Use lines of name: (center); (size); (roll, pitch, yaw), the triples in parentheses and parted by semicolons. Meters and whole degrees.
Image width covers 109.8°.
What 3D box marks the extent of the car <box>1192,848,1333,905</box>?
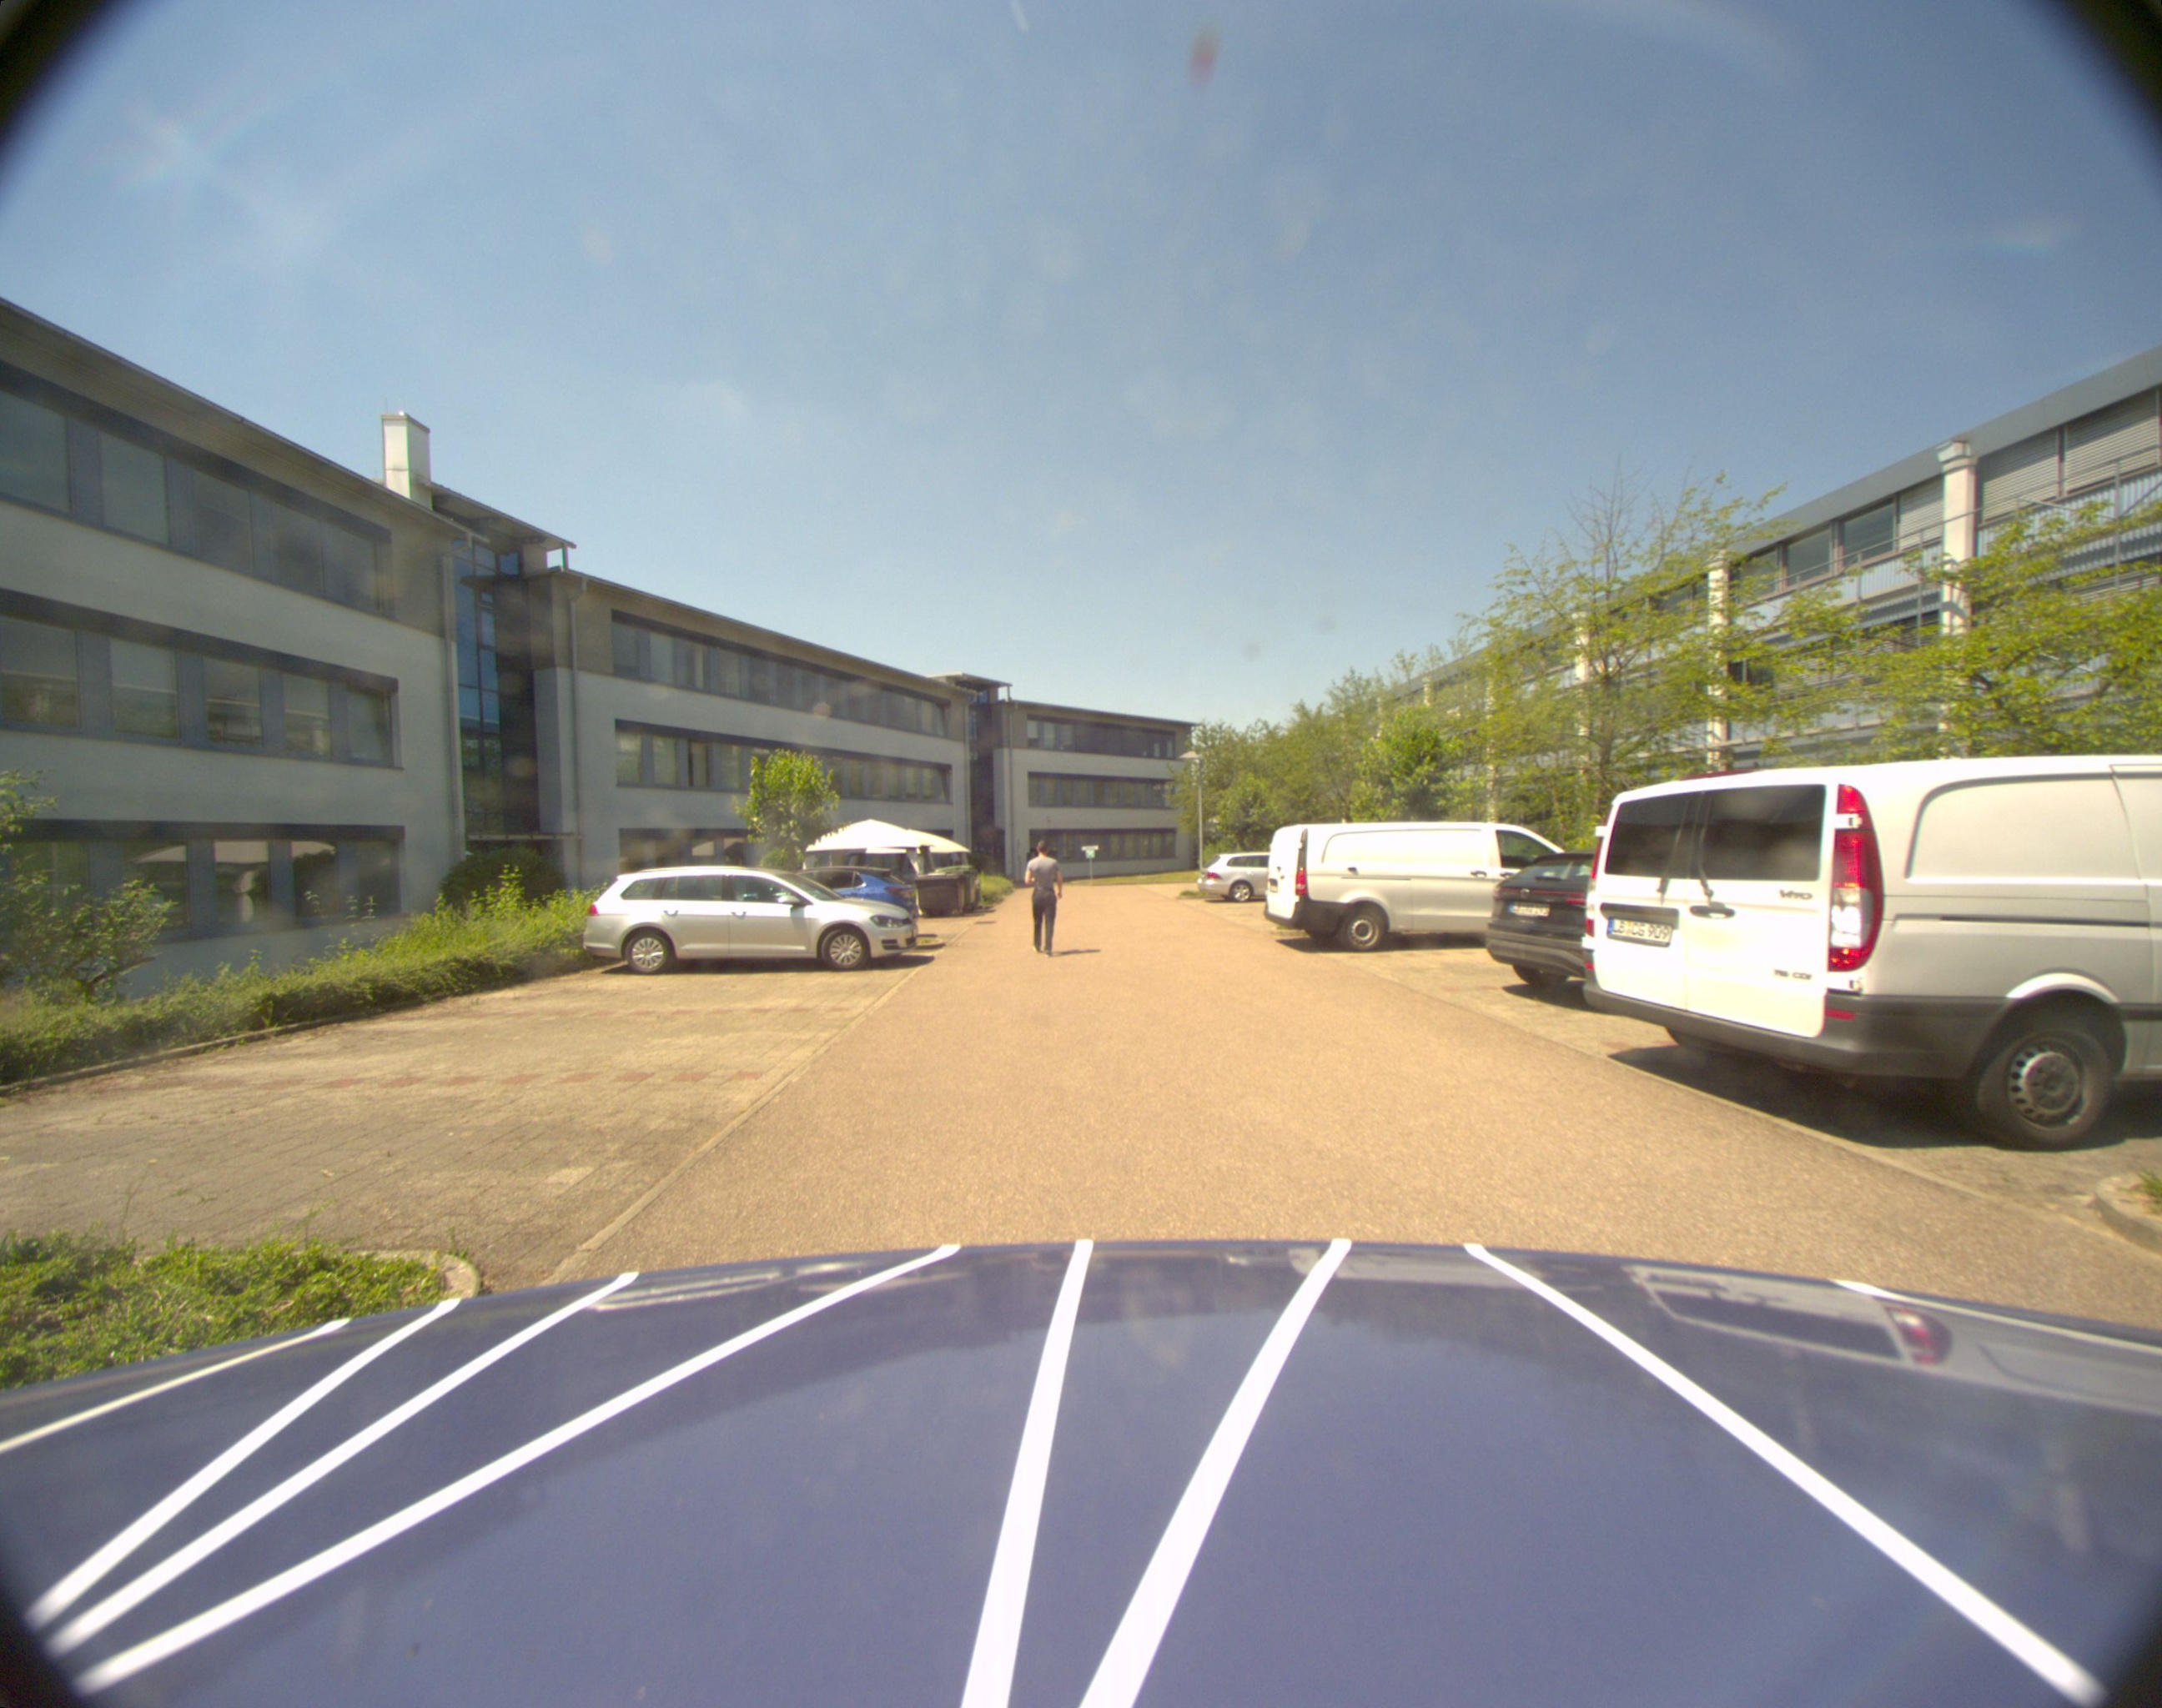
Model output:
car: (5.375, 0.633, 22.761); (3.764, 1.549, 1.660); (-1, 1, -4)

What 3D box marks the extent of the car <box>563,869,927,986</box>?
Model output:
car: (-4.698, 1.004, 11.202); (4.518, 1.488, 1.828); (0, 1, -4)

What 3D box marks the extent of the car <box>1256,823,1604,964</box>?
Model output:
car: (5.198, 0.545, 11.700); (4.518, 1.871, 1.828); (-1, 1, -4)

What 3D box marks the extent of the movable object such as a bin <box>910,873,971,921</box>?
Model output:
movable object such as a bin: (-3.712, 1.119, 20.193); (1.363, 1.182, 0.997); (-1, 1, 3)

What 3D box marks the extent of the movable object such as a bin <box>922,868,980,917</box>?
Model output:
movable object such as a bin: (-3.622, 1.063, 21.268); (1.363, 1.288, 1.043); (-1, 1, 3)

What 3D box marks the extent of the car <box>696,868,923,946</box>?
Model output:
car: (-5.124, 0.984, 14.734); (3.825, 1.383, 1.651); (0, 1, -4)

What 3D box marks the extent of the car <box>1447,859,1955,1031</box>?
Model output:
car: (5.916, 0.799, 7.517); (3.850, 1.385, 1.576); (-1, 1, -4)

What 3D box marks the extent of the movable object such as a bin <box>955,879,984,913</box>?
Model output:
movable object such as a bin: (-3.256, 1.221, 22.225); (0.690, 0.944, 0.722); (-1, 1, 3)

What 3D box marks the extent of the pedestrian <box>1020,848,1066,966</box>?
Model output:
pedestrian: (-0.576, 0.785, 11.699); (0.618, 1.747, 0.788); (-1, 1, 1)

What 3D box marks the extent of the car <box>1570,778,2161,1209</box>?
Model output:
car: (5.775, 0.575, 4.443); (4.733, 1.895, 1.829); (-1, 1, -4)
